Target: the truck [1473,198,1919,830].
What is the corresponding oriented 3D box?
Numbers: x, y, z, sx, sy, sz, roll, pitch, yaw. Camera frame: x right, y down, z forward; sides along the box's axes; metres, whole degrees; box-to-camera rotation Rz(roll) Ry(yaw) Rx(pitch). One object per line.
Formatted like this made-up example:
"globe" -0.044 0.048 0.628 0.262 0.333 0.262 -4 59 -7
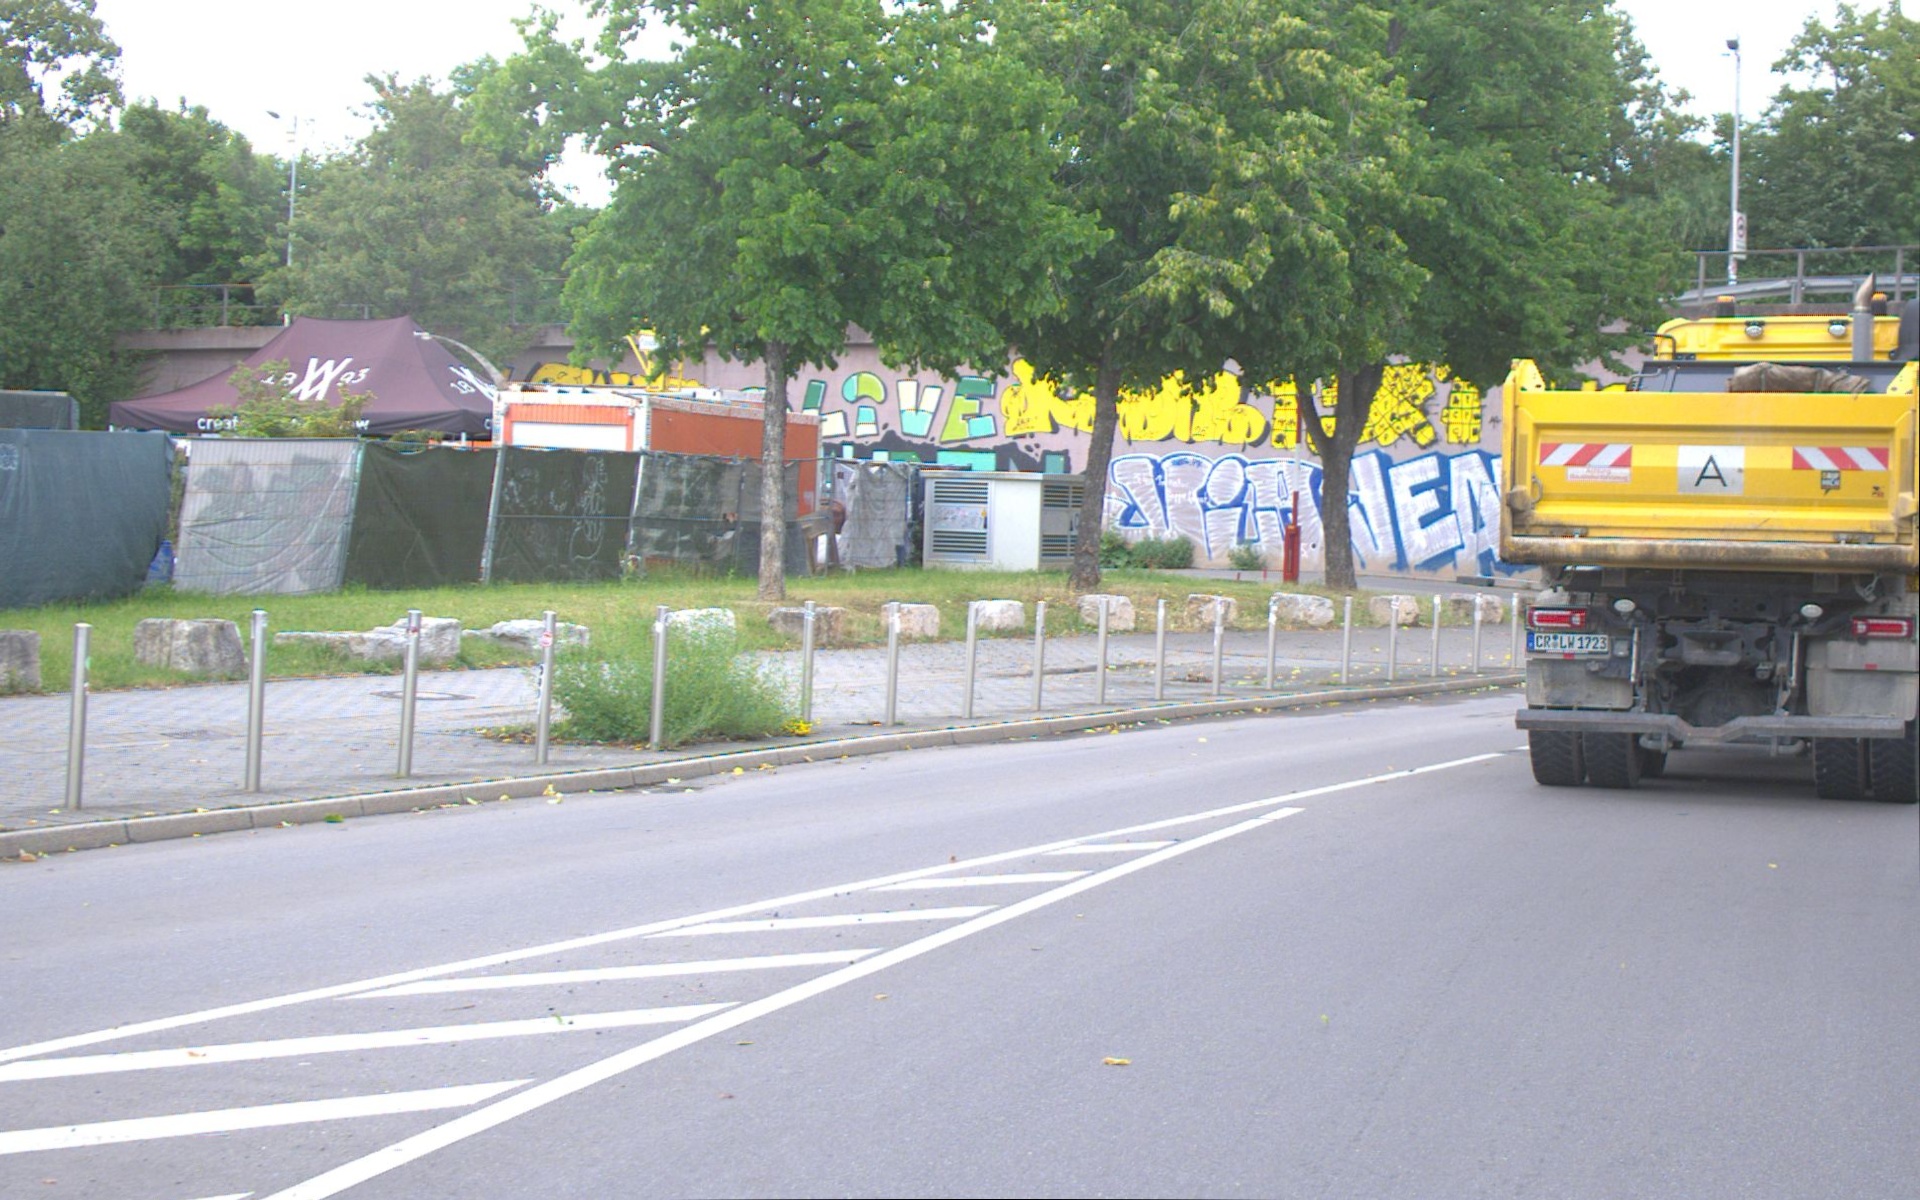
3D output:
"truck" 5.716 -0.612 24.356 2.760 3.685 7.874 3 2 17
